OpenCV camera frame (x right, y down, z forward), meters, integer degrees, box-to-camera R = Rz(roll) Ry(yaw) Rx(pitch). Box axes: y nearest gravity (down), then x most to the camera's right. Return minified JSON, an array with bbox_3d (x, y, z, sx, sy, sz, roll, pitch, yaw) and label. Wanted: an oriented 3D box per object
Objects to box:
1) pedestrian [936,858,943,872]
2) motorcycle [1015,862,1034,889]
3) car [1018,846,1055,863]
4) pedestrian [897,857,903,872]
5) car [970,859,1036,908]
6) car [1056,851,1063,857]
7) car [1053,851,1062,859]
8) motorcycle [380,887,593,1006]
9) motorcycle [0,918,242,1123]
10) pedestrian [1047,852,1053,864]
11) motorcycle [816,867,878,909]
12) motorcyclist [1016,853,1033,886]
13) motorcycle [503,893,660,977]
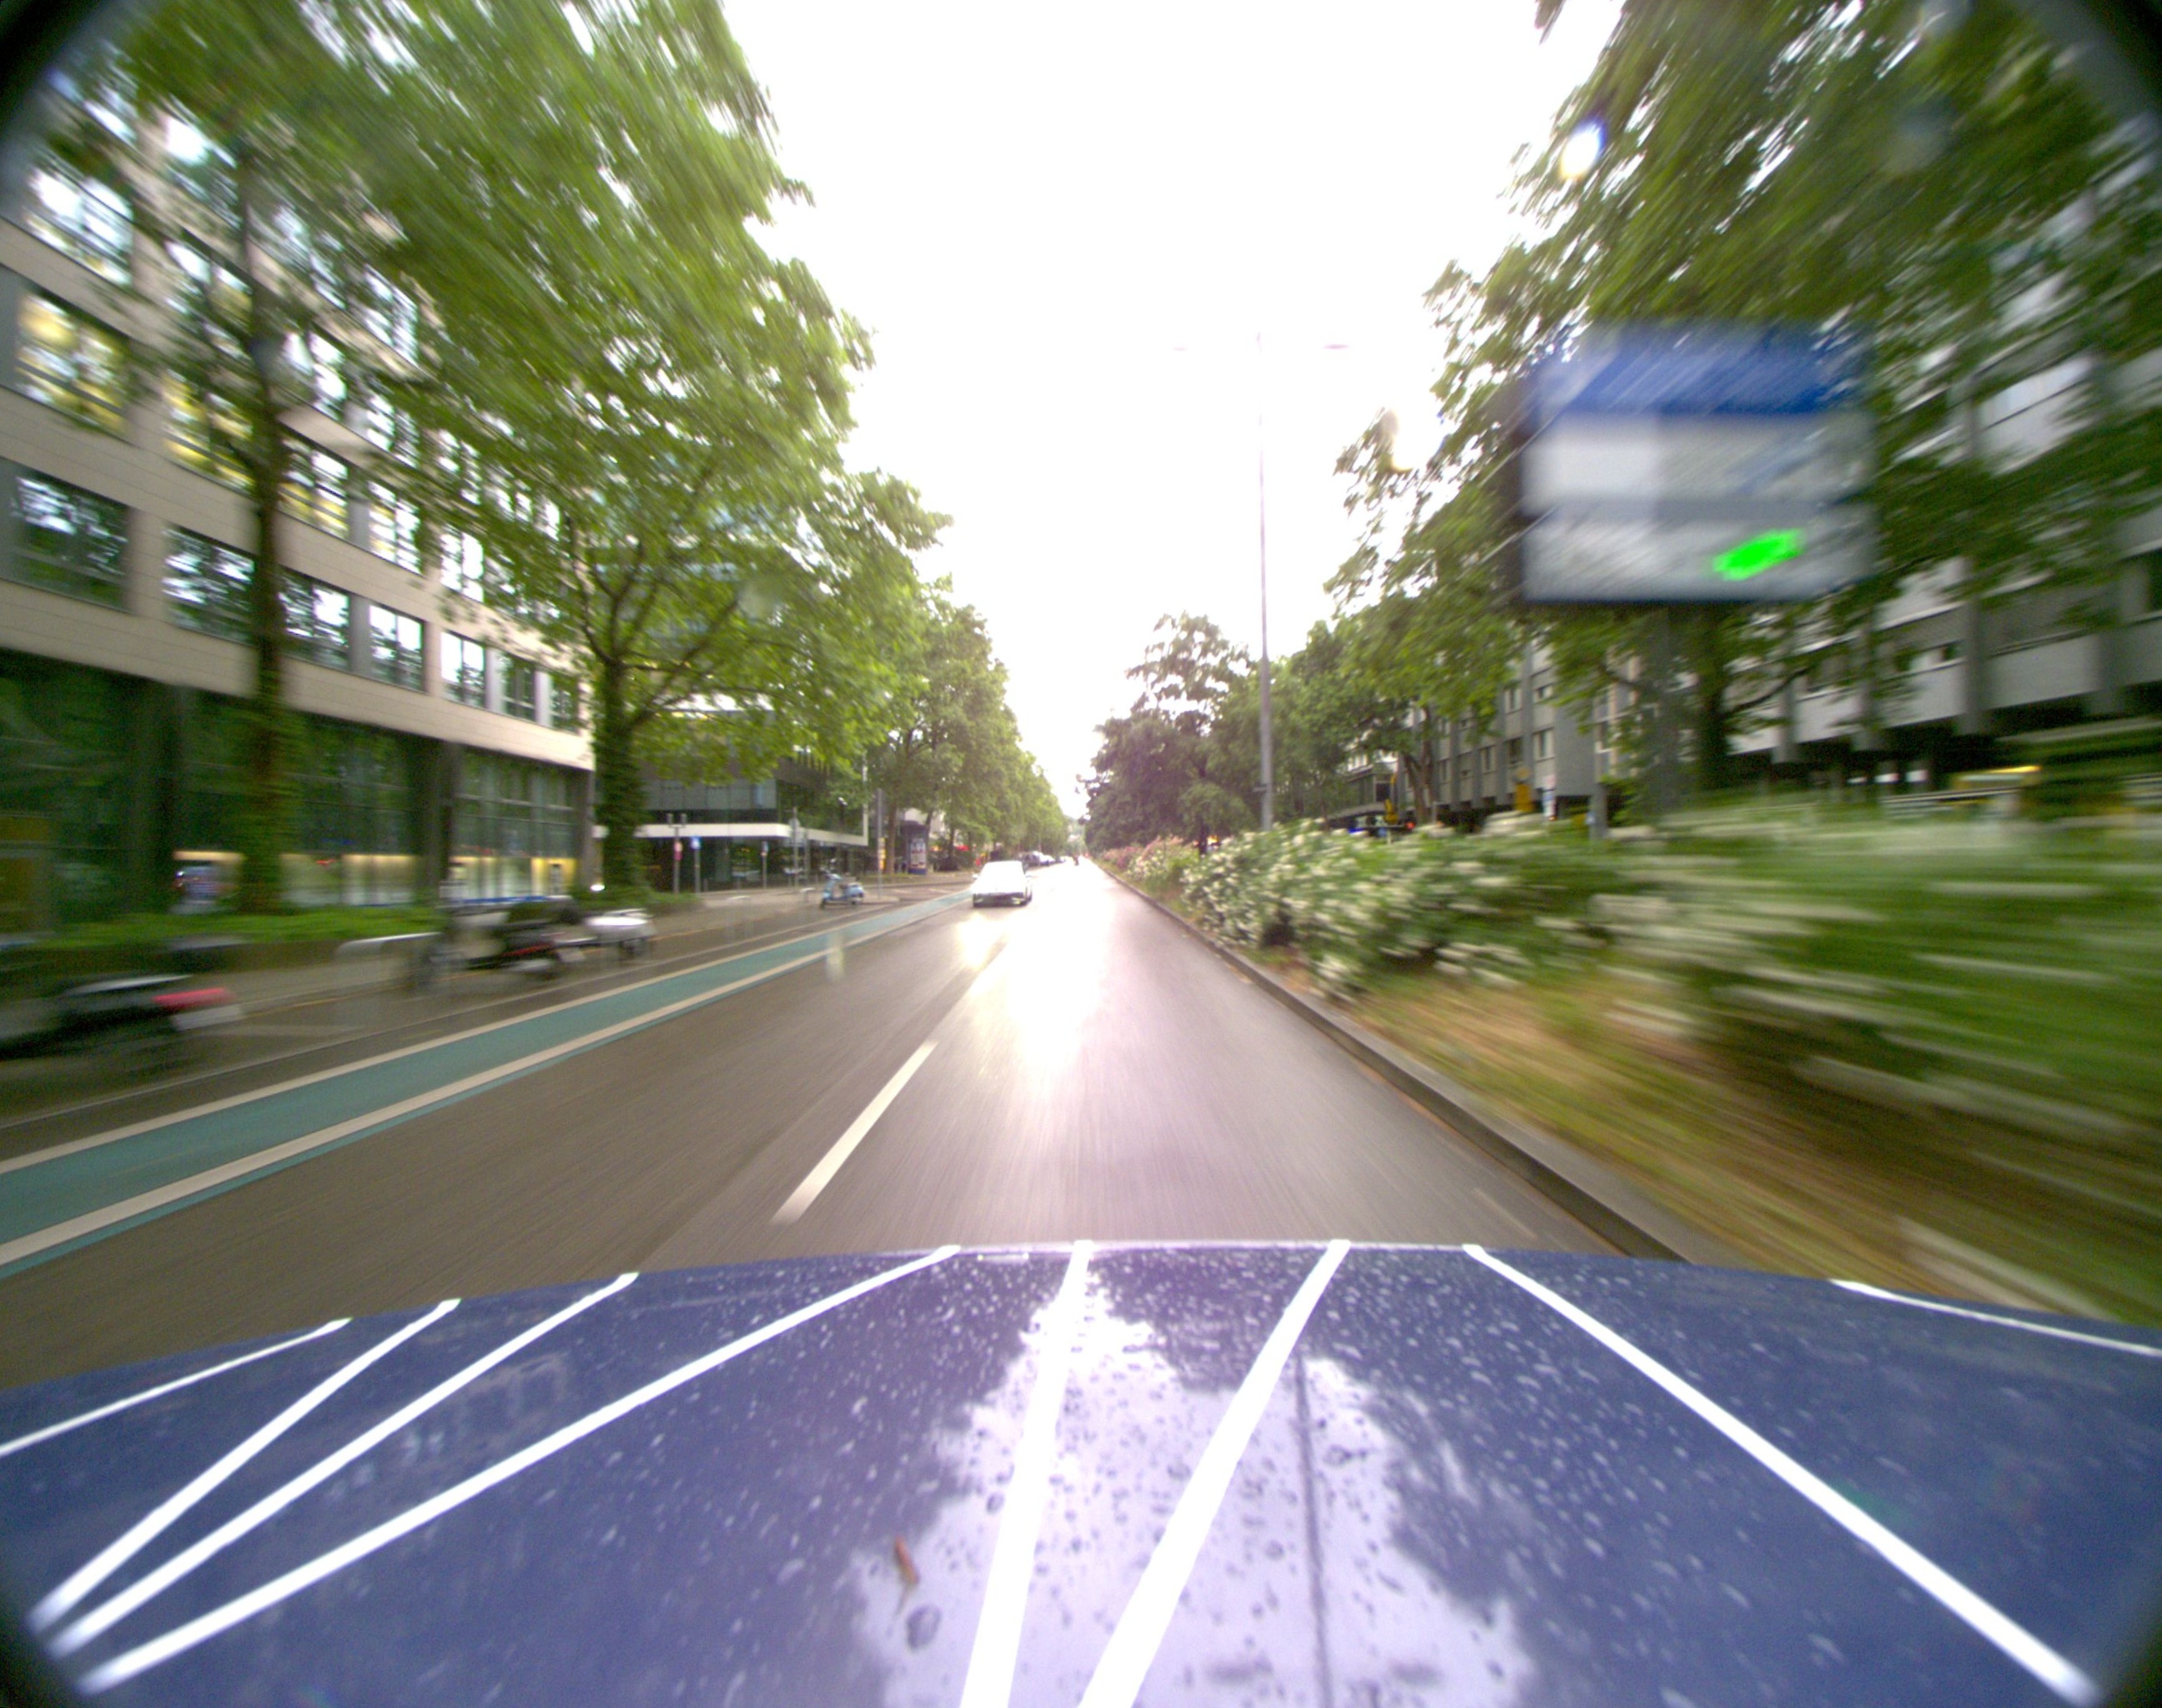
[{"bbox_3d":[-15.925,1.231,85.559,0.588,1.496,1.005,-1,0,1],"label":"pedestrian"},{"bbox_3d":[-2.799,1.060,37.922,0.744,1.194,2.235,-2,1,0],"label":"motorcycle"},{"bbox_3d":[-7.678,0.072,130.435,6.268,2.665,2.326,-1,1,36],"label":"car"},{"bbox_3d":[-19.920,1.117,83.513,0.527,1.616,0.719,1,2,0],"label":"pedestrian"},{"bbox_3d":[-2.611,0.970,26.280,1.795,1.463,3.793,-2,0,1],"label":"car"},{"bbox_3d":[-5.482,0.063,196.062,1.598,1.517,3.425,-2,0,0],"label":"car"},{"bbox_3d":[-4.709,0.235,154.291,1.598,1.517,3.425,-2,0,0],"label":"car"},{"bbox_3d":[-7.716,1.159,9.991,2.062,1.420,0.728,0,-1,-21],"label":"motorcycle"},{"bbox_3d":[-7.745,1.197,5.597,1.964,1.365,0.728,0,-1,-21],"label":"motorcycle"},{"bbox_3d":[-5.061,0.648,124.312,0.893,1.839,0.786,-3,1,-15],"label":"pedestrian"},{"bbox_3d":[-7.940,1.136,25.847,0.683,1.359,1.950,3,2,41],"label":"motorcycle"},{"bbox_3d":[-2.810,0.766,37.861,0.744,1.575,1.059,-2,1,0],"label":"motorcyclist"},{"bbox_3d":[-8.038,1.261,12.299,2.064,1.206,0.683,1,1,-35],"label":"motorcycle"}]
